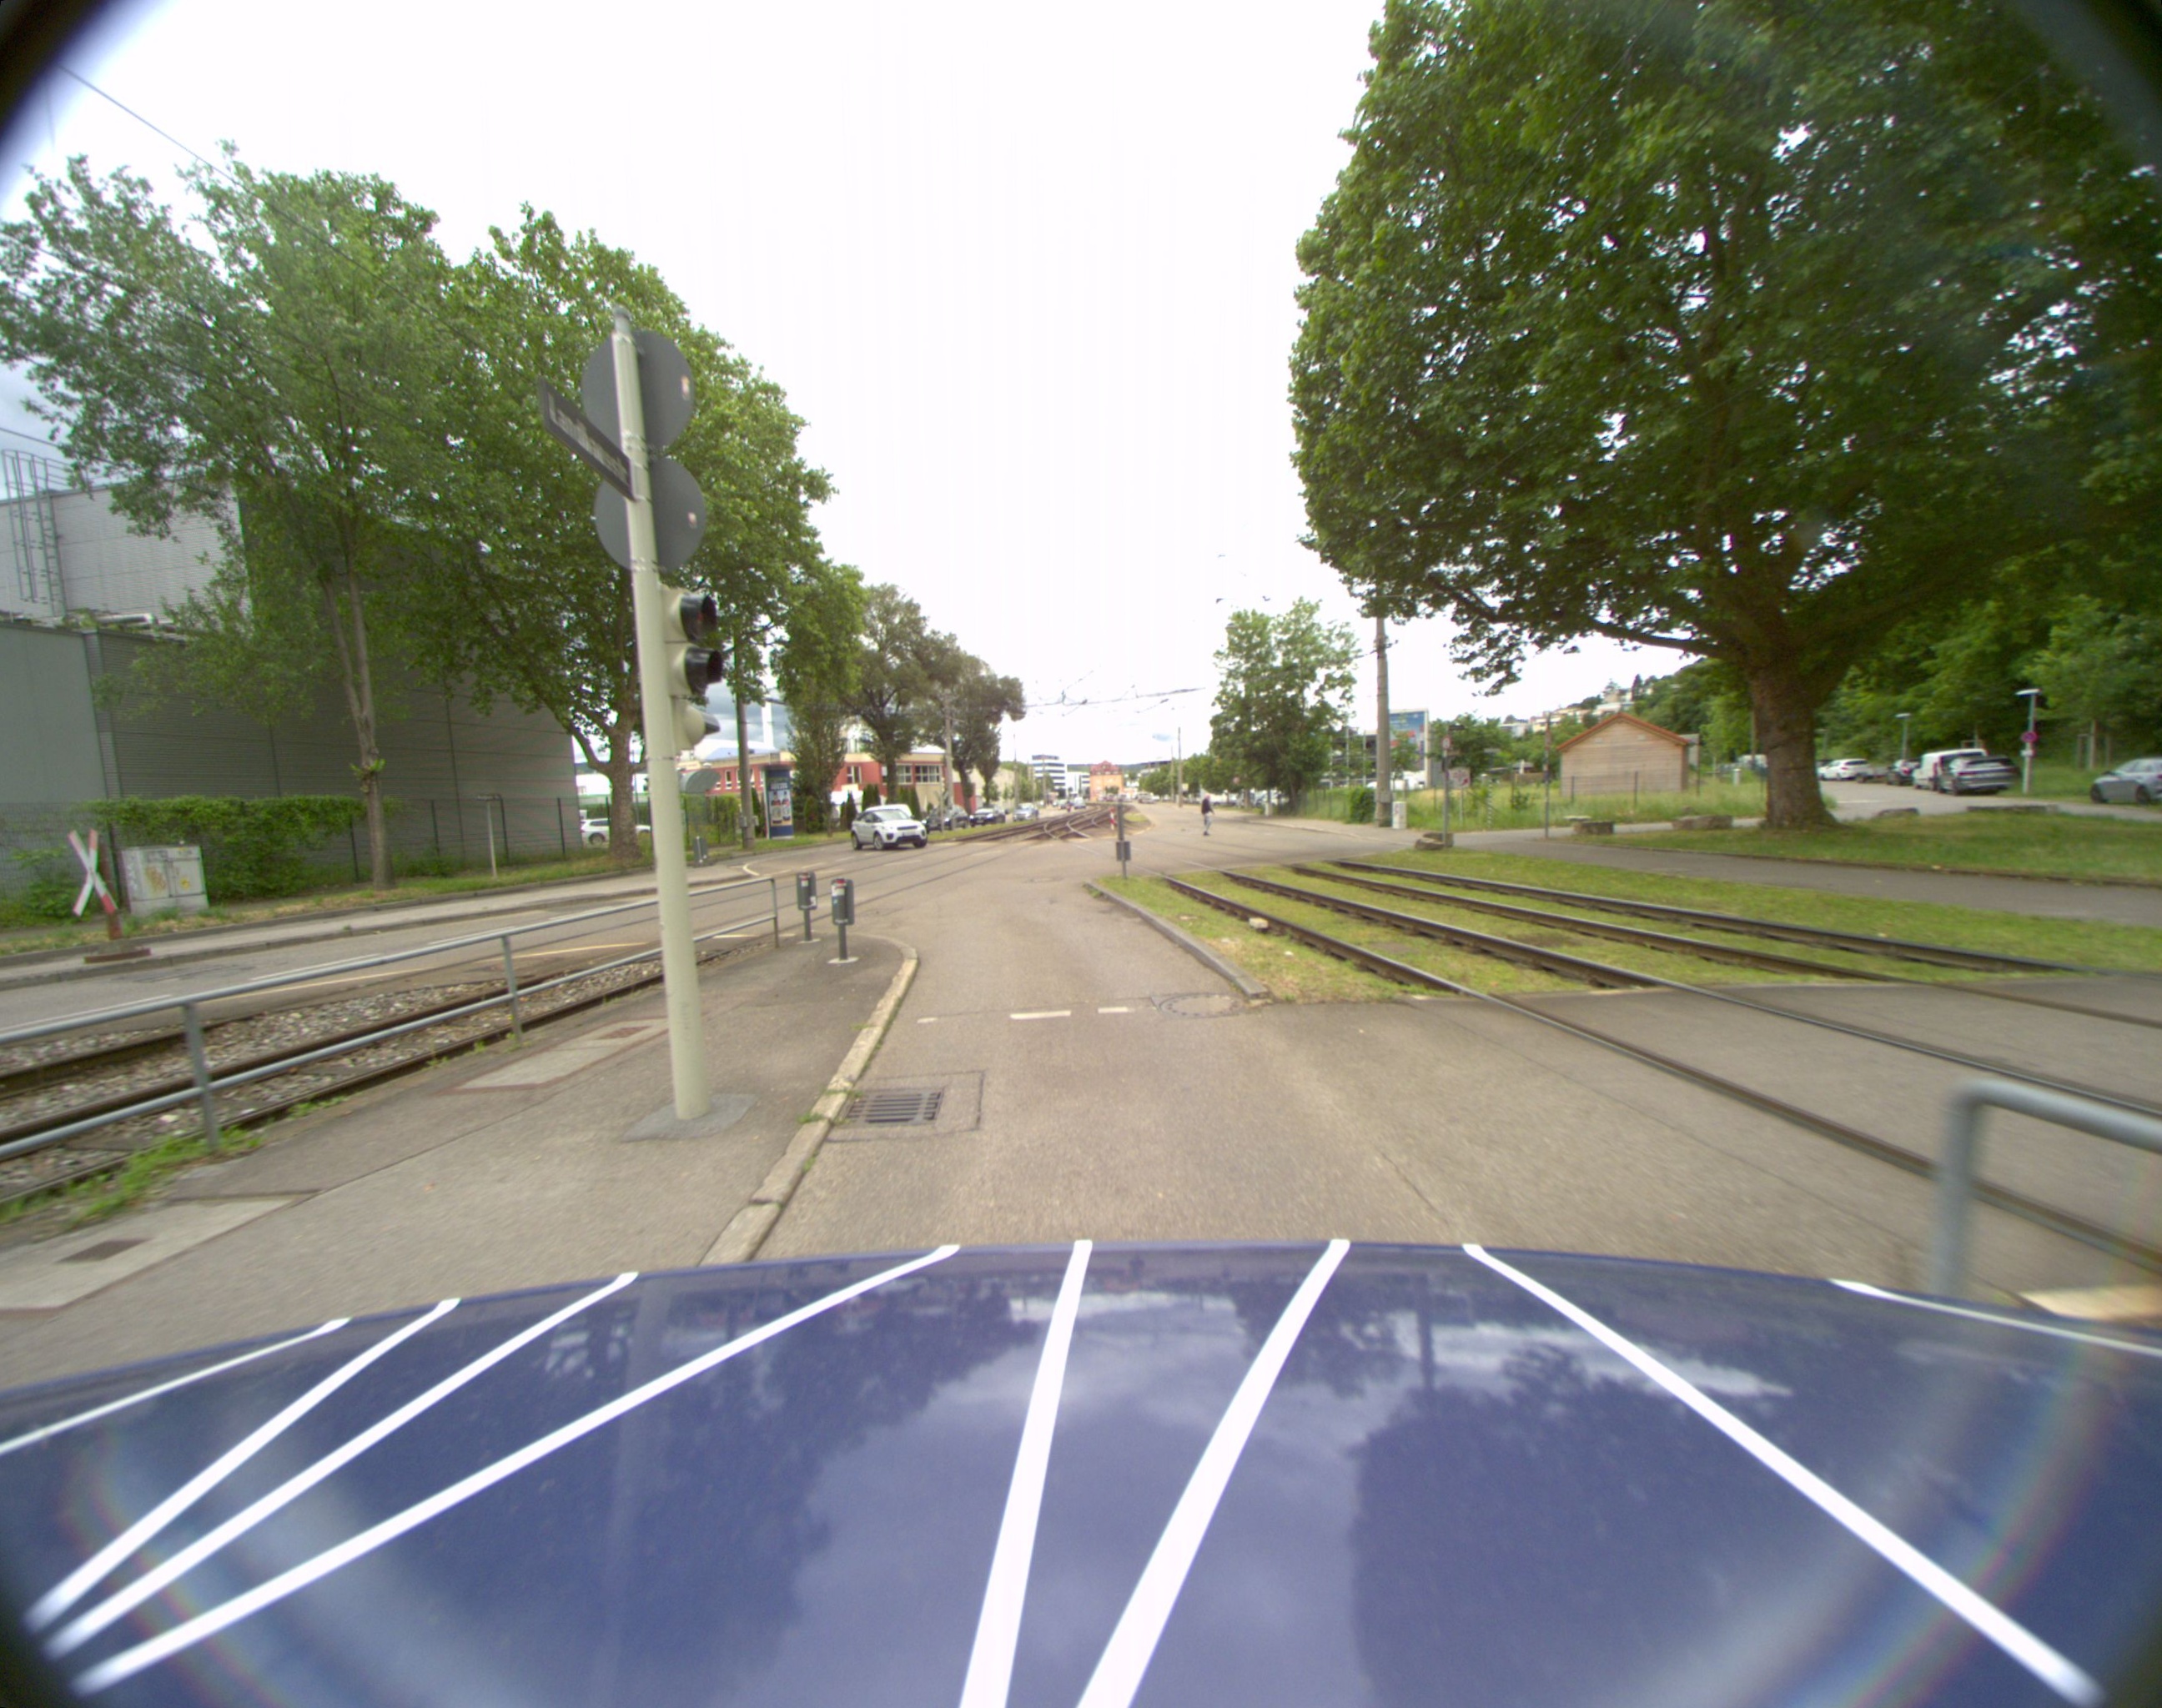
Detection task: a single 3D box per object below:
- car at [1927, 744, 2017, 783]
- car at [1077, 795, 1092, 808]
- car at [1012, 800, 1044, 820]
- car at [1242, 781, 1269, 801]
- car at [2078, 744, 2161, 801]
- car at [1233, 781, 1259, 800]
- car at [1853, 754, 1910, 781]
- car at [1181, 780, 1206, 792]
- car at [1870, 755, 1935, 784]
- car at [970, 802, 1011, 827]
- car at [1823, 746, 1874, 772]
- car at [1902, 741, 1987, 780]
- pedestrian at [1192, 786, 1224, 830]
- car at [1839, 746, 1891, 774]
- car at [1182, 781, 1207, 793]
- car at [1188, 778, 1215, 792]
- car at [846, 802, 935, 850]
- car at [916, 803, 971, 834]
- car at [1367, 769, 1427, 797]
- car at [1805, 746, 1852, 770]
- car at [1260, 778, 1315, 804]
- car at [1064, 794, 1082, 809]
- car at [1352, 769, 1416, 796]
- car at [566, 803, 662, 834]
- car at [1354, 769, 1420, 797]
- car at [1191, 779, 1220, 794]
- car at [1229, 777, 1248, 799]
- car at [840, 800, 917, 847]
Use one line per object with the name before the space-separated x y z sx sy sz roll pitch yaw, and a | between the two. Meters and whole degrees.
car | 38.157 -3.920 32.638 1.696 1.417 3.507 -1 6 36
car | 0.559 -8.206 117.522 1.868 1.741 3.997 -5 5 4
car | -4.794 -4.065 69.382 1.998 1.548 4.558 -3 6 6
car | 20.673 -7.504 90.254 2.140 2.105 4.772 -5 5 2
car | 31.582 -2.433 22.385 1.696 1.417 3.507 -1 6 36
car | 20.928 -8.066 96.511 2.141 2.105 4.771 -5 5 1
car | 48.589 -5.282 46.200 1.752 1.370 3.685 -1 6 36
car | 22.851 -13.875 154.892 4.636 2.198 2.107 -5 5 1
car | 45.289 -4.679 41.964 1.752 1.370 3.685 -1 6 36
car | -6.751 -2.984 56.986 1.998 1.548 4.558 -3 6 6
car | 53.361 -6.641 52.901 1.753 1.605 3.685 -1 6 33
car | 41.451 -4.505 36.562 1.904 1.605 3.685 -1 7 36
pedestrian | 5.387 -1.950 32.236 1.120 1.751 0.813 -5 6 1
car | 50.913 -6.117 49.413 1.752 1.605 3.685 -1 7 36
car | 22.693 -13.464 152.527 4.636 1.831 2.107 -5 5 1
car | 22.311 -12.738 140.826 4.636 2.198 2.107 -5 5 1
car | -7.740 -1.141 30.610 2.003 1.681 4.256 -6 5 -34
car | -8.492 -2.271 47.369 1.998 1.548 4.558 -3 6 6
car | 34.113 -7.664 82.056 5.650 2.448 1.982 -2 6 28
car | 55.738 -7.188 56.719 1.753 1.605 3.685 -1 6 33
car | 21.738 -6.682 80.179 5.266 2.256 1.999 -4 5 6
car | -1.058 -6.884 99.380 1.868 1.741 3.997 -5 5 4
car | 31.688 -7.478 79.508 5.837 2.256 2.055 -2 6 31
car | -29.080 -2.259 47.443 1.994 1.657 4.507 2 7 36
car | 30.560 -7.060 75.925 5.848 2.256 2.055 -2 6 31
car | 22.188 -12.007 135.614 4.636 2.198 2.107 -5 5 1
car | 24.312 -10.273 117.624 2.318 2.996 6.156 -4 5 8
car | -9.760 -1.566 37.164 1.998 1.992 5.031 -2 5 4
